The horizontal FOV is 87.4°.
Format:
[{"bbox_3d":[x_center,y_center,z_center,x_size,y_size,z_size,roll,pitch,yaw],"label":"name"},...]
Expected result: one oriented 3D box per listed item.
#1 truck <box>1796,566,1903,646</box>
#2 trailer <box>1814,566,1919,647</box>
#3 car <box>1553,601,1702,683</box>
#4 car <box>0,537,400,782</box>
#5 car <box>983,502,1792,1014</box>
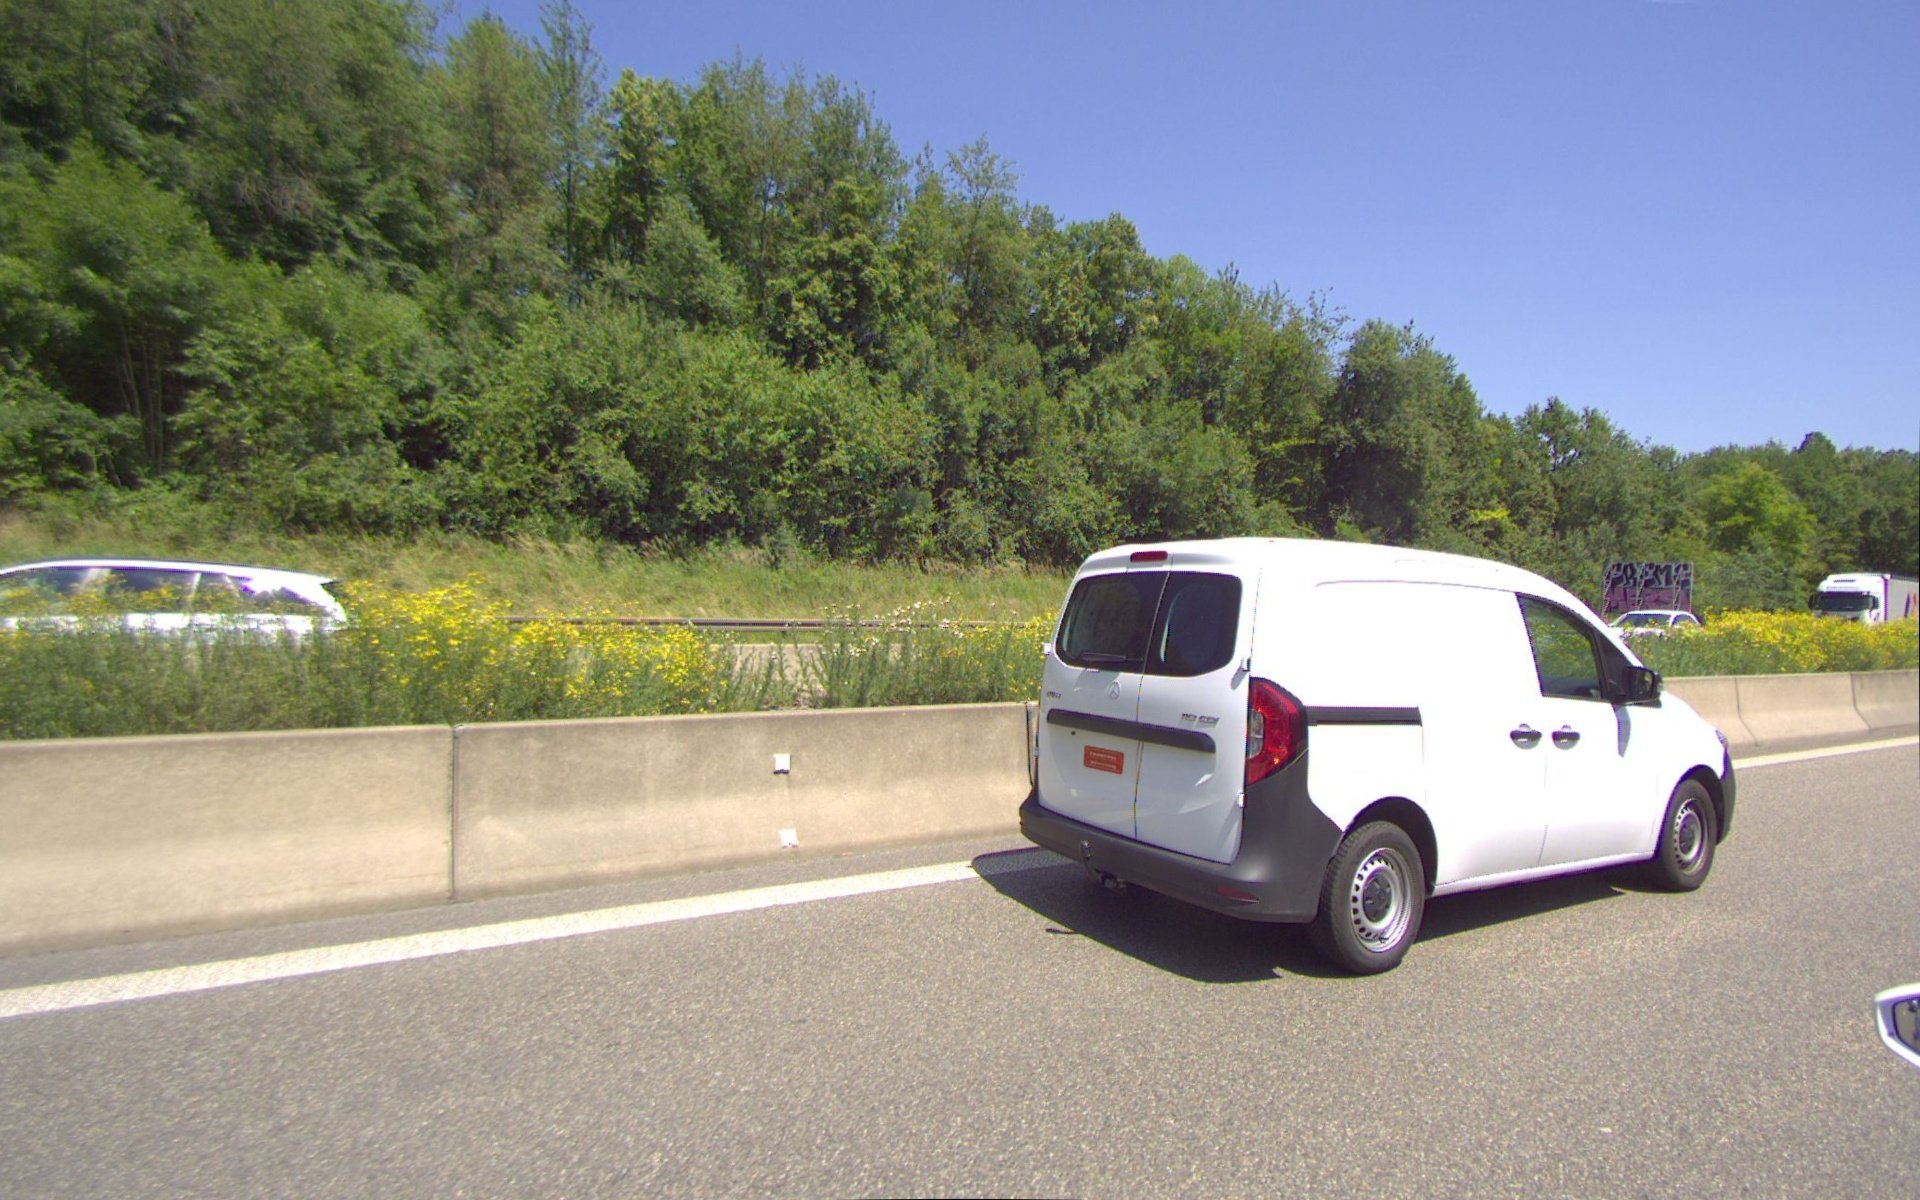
[{"bbox_3d":[50.184,0.370,56.648,6.022,4.161,2.947,3,-1,-32],"label":"truck"},{"bbox_3d":[55.242,0.543,59.982,12.927,4.287,2.909,3,-1,-33],"label":"trailer"},{"bbox_3d":[18.112,1.150,27.227,3.956,2.040,1.868,3,-1,-32],"label":"car"},{"bbox_3d":[-6.337,0.397,7.500,3.636,1.585,1.872,3,-1,-28],"label":"car"},{"bbox_3d":[2.550,0.624,5.569,4.621,1.837,1.756,2,0,-31],"label":"car"}]
